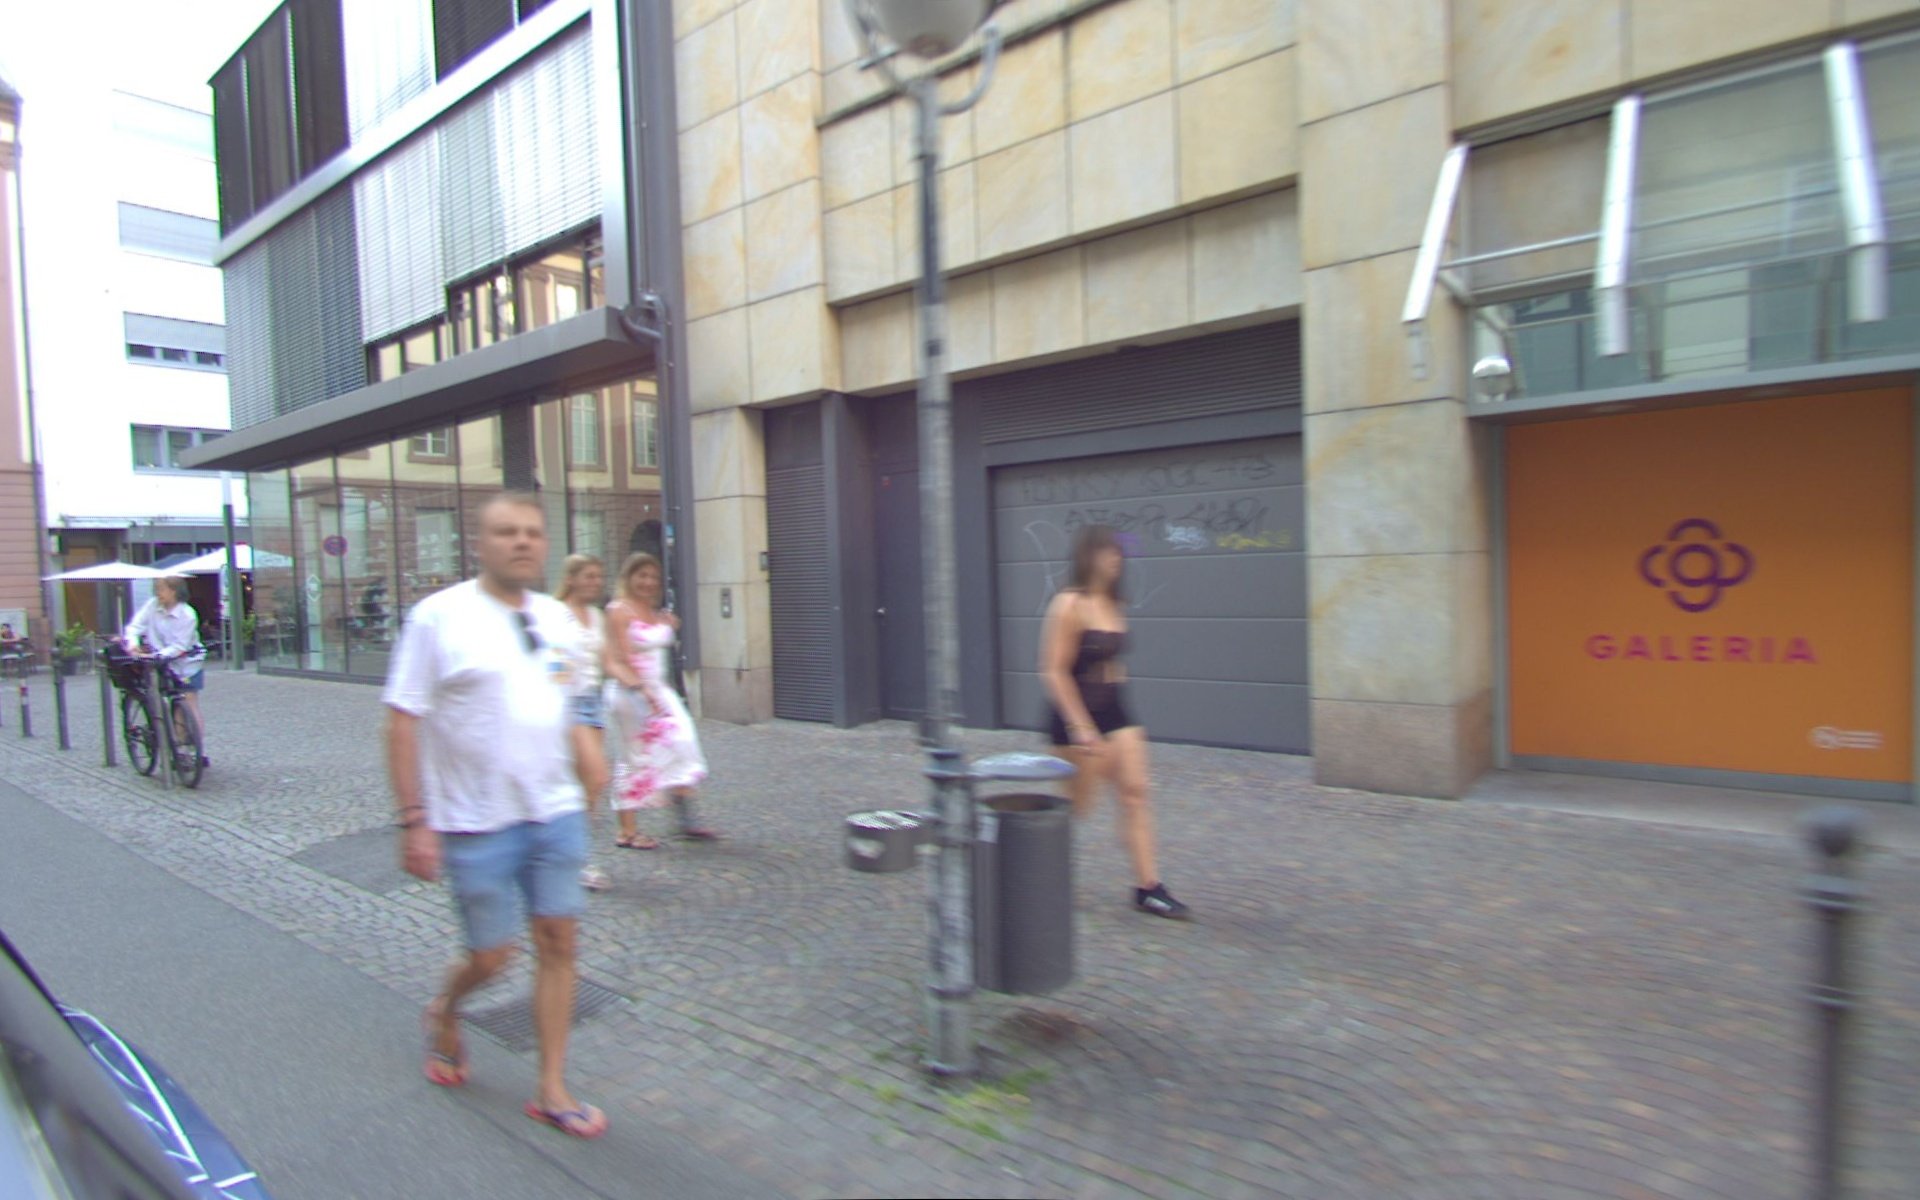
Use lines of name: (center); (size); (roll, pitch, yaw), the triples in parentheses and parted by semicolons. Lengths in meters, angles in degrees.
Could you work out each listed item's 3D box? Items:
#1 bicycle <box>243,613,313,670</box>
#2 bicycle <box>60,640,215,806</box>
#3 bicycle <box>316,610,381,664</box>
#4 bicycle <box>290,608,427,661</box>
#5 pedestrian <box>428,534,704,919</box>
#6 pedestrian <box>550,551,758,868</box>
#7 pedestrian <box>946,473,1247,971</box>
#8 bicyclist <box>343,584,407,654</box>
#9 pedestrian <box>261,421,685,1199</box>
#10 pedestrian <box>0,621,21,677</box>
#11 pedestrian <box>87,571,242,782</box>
bicycle: (-14.520, 0.883, 21.525); (1.671, 1.121, 0.701); (-3, 0, 37)
bicycle: (-6.754, 0.940, 8.271); (1.912, 1.162, 0.528); (-1, 3, 39)
bicycle: (-13.874, 0.849, 22.944); (1.838, 1.159, 0.602); (-3, 0, 37)
bicycle: (-15.567, 0.873, 26.251); (2.908, 1.177, 0.896); (-3, 1, -39)
pedestrian: (-1.950, 0.576, 5.097); (0.940, 1.742, 0.805); (-2, 1, 17)
pedestrian: (-1.730, 0.584, 5.790); (0.853, 1.677, 0.673); (-2, 1, 17)
pedestrian: (0.583, 0.442, 4.263); (0.969, 1.809, 0.779); (-1, 1, 34)
bicyclist: (-15.308, 0.474, 26.473); (1.264, 1.741, 0.896); (-3, 1, -39)
pedestrian: (-1.404, 0.495, 2.933); (0.877, 1.836, 0.735); (-1, 1, 37)
pedestrian: (-21.588, 1.109, 22.790); (0.524, 1.220, 0.542); (-1, 1, 40)
pedestrian: (-6.919, 0.633, 8.838); (0.585, 1.731, 0.769); (-3, 2, 7)
